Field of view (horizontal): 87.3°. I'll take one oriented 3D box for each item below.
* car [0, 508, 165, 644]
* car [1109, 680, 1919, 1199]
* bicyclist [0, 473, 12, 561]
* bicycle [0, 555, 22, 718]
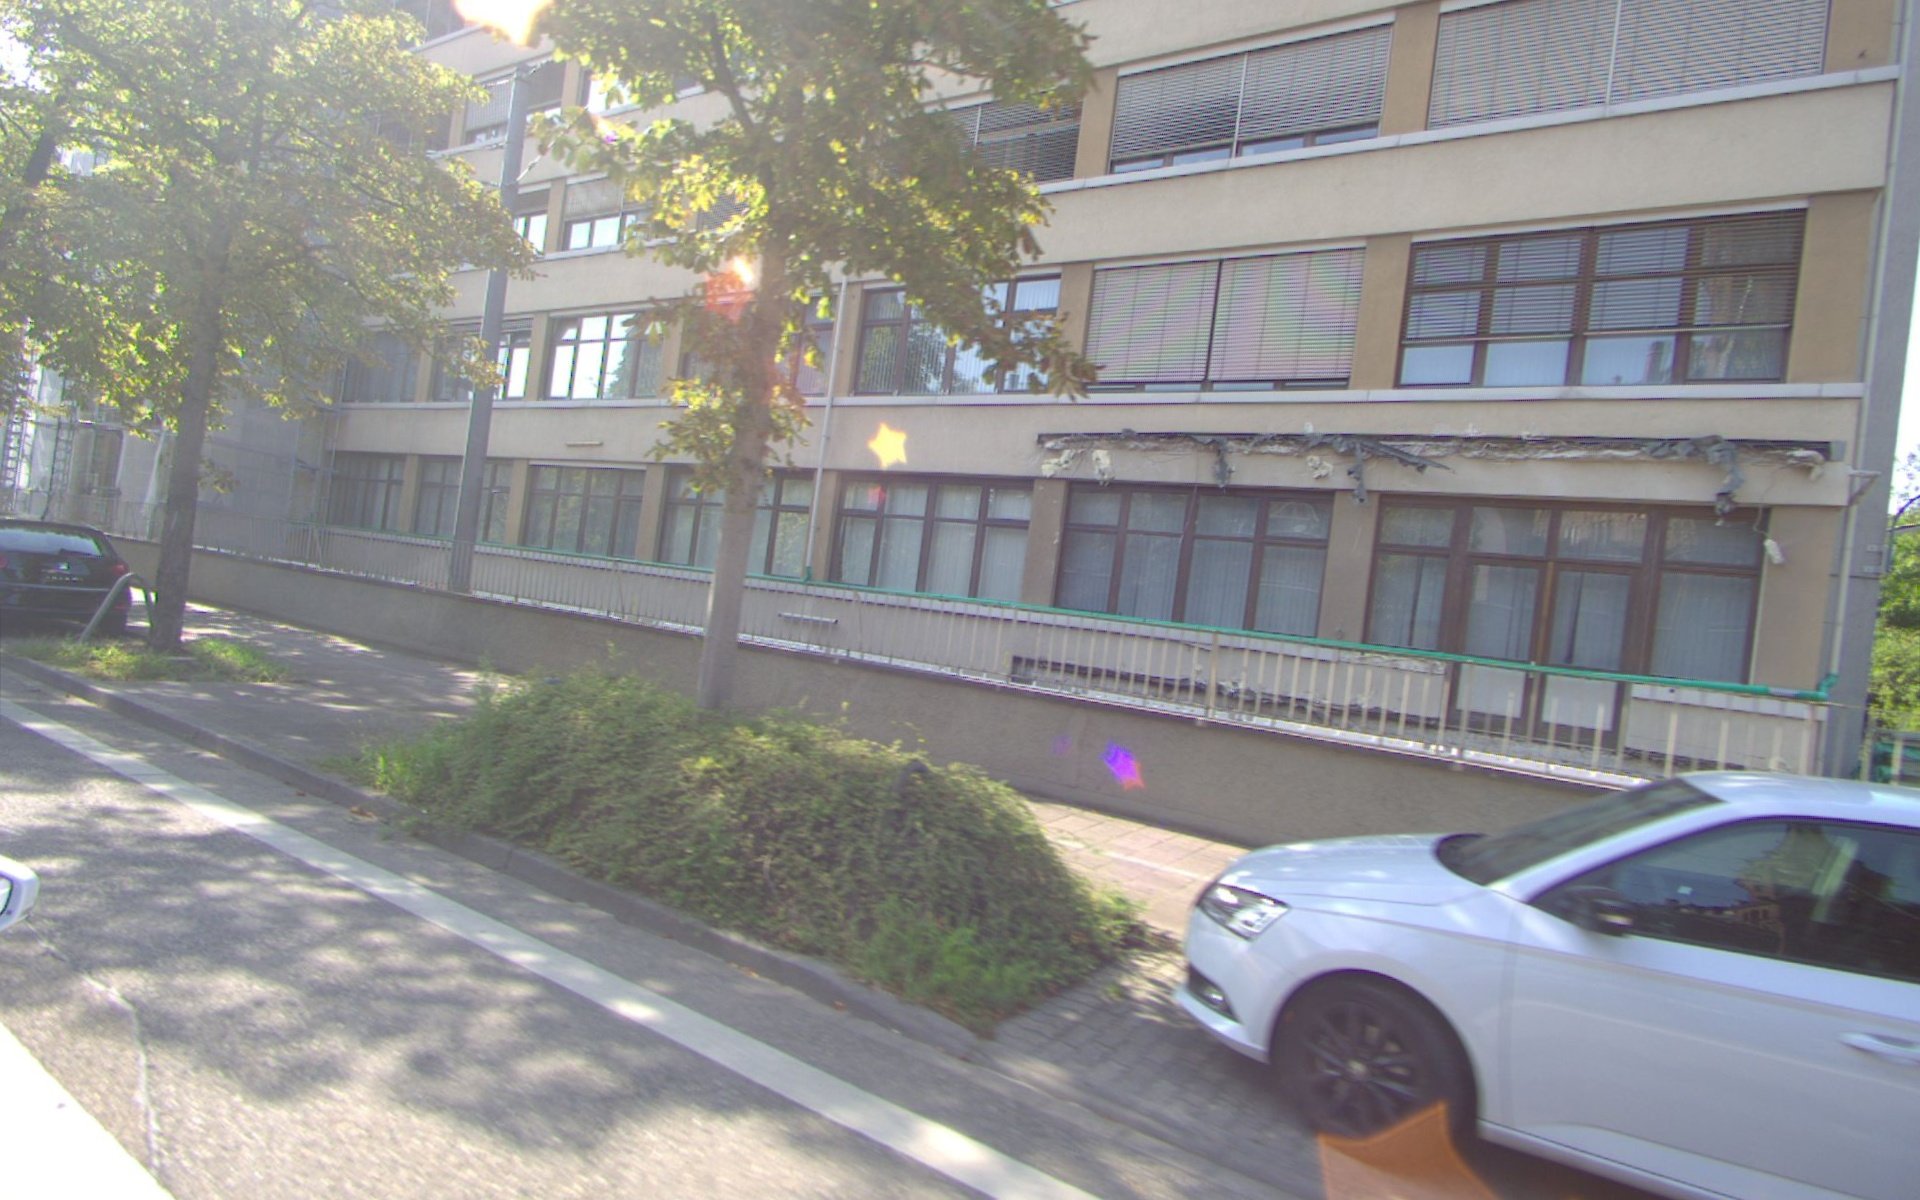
[{"bbox_3d":[-12.293,-0.422,13.128,4.017,1.446,1.648,7,0,32],"label":"car"},{"bbox_3d":[2.722,1.274,3.471,3.922,1.447,1.643,7,-1,31],"label":"car"},{"bbox_3d":[-7.994,-0.311,7.652,1.098,1.487,0.788,7,-1,34],"label":"bicyclist"},{"bbox_3d":[-8.062,0.139,7.649,2.268,1.158,0.788,7,-1,34],"label":"bicycle"}]
